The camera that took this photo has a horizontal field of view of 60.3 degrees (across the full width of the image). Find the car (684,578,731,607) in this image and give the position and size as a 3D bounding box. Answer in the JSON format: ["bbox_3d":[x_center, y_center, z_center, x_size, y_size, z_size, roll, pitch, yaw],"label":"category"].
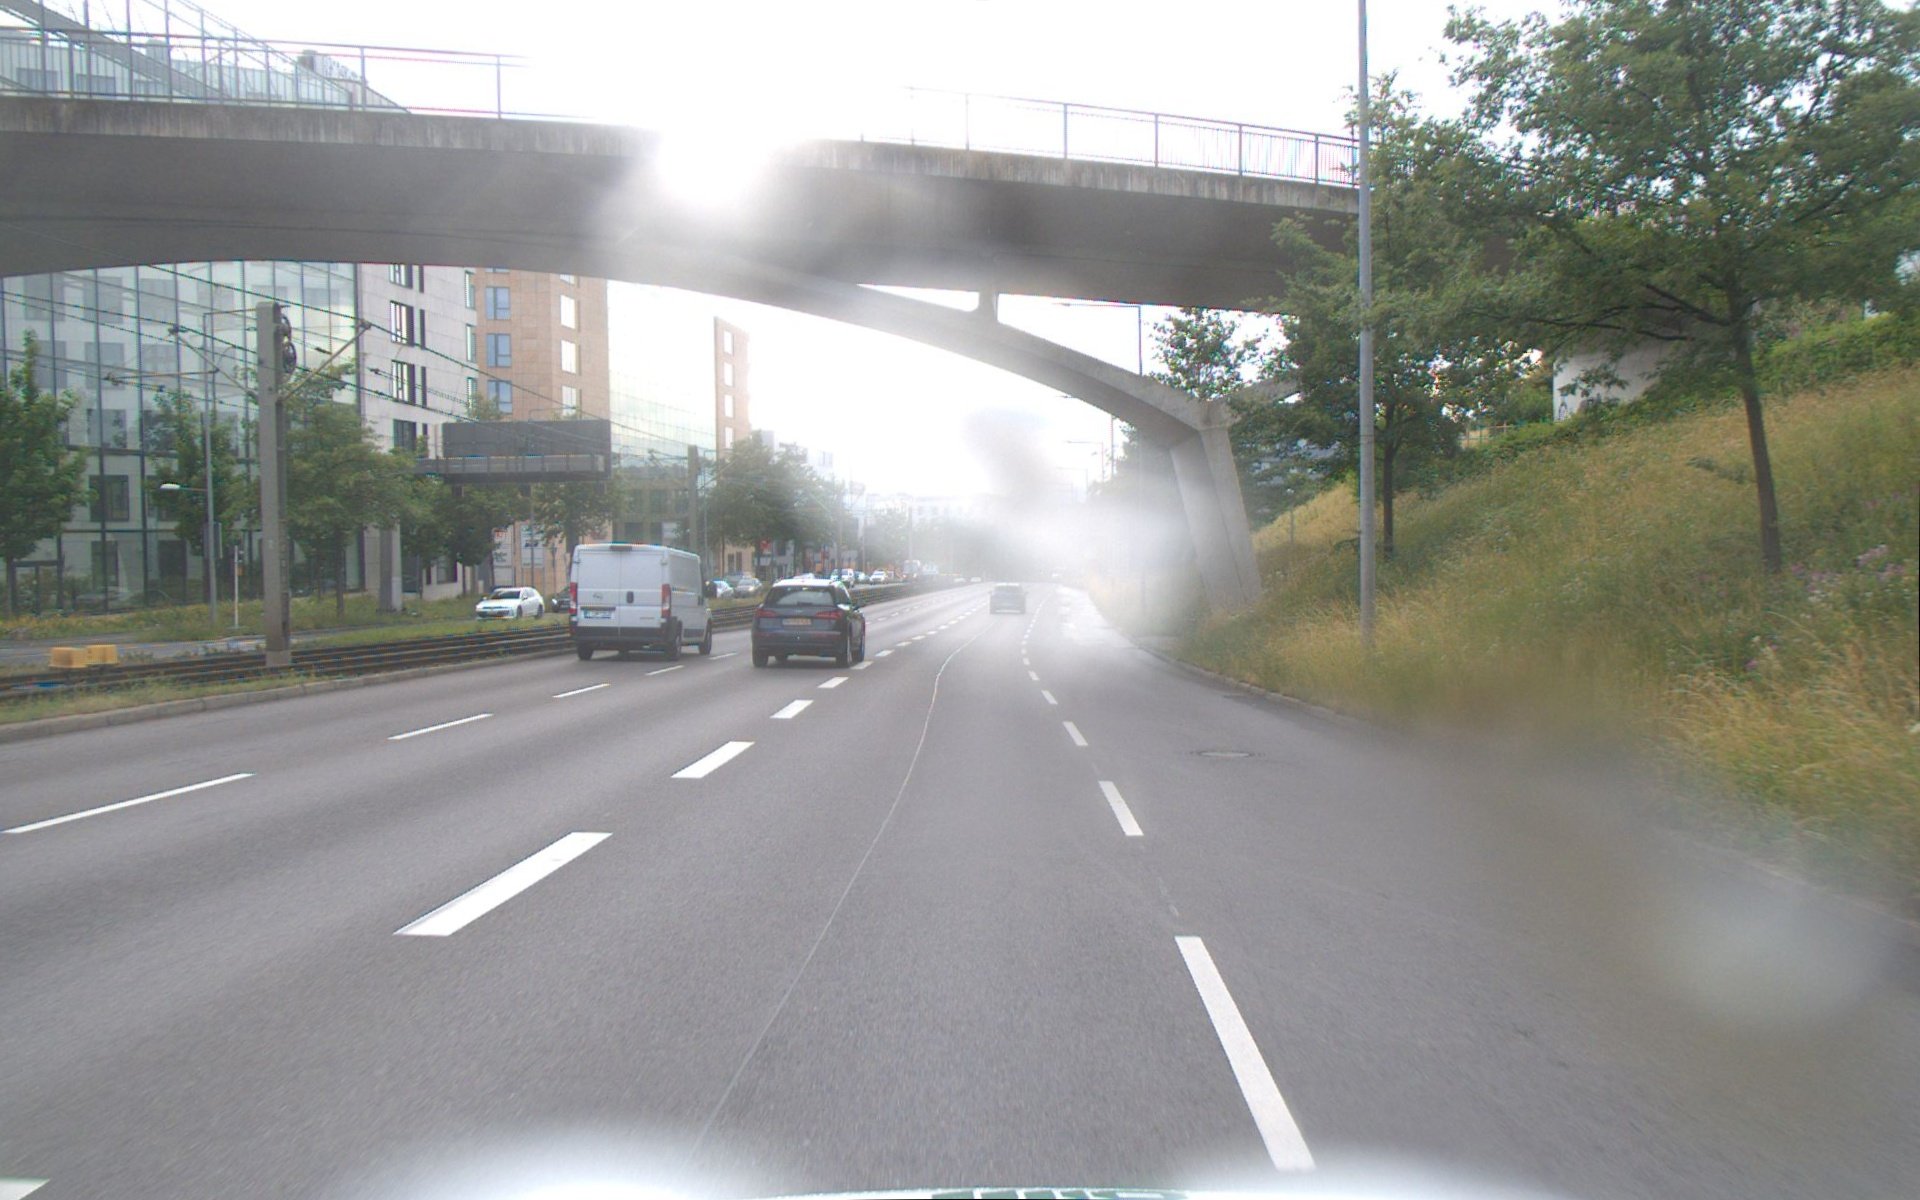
[{"bbox_3d":[-15.090,-0.455,99.002,1.727,1.625,4.795,1,1,4],"label":"car"}]

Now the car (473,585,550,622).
[{"bbox_3d":[-19.699,0.123,72.907,1.880,1.523,4.659,1,1,3],"label":"car"}]

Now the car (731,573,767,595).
[{"bbox_3d":[-15.678,-1.195,122.977,1.772,1.560,4.277,1,1,4],"label":"car"}]

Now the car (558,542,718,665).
[{"bbox_3d":[-6.524,0.020,34.116,2.221,2.324,4.761,1,1,1],"label":"car"}]

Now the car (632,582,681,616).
[{"bbox_3d":[-17.047,-0.063,92.945,1.881,1.807,4.135,1,1,1],"label":"car"}]

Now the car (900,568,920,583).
[{"bbox_3d":[-5.994,-2.958,197.901,1.897,1.792,4.813,1,1,4],"label":"car"}]

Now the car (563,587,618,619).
[{"bbox_3d":[-20.727,0.141,92.918,1.727,1.625,4.494,1,1,4],"label":"car"}]

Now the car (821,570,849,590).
[{"bbox_3d":[-12.074,-1.939,160.033,1.897,1.792,5.065,1,1,4],"label":"car"}]

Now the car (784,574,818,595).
[{"bbox_3d":[-12.155,-1.192,127.048,1.772,1.560,4.872,1,1,4],"label":"car"}]

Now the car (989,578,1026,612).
[{"bbox_3d":[2.315,-0.227,81.686,1.752,1.619,4.000,1,0,1],"label":"car"}]

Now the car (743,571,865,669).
[{"bbox_3d":[-2.955,0.380,32.223,1.883,1.740,4.098,1,0,1],"label":"car"}]

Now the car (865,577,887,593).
[{"bbox_3d":[-9.734,-1.784,192.007,1.897,1.792,4.813,1,1,4],"label":"car"}]
